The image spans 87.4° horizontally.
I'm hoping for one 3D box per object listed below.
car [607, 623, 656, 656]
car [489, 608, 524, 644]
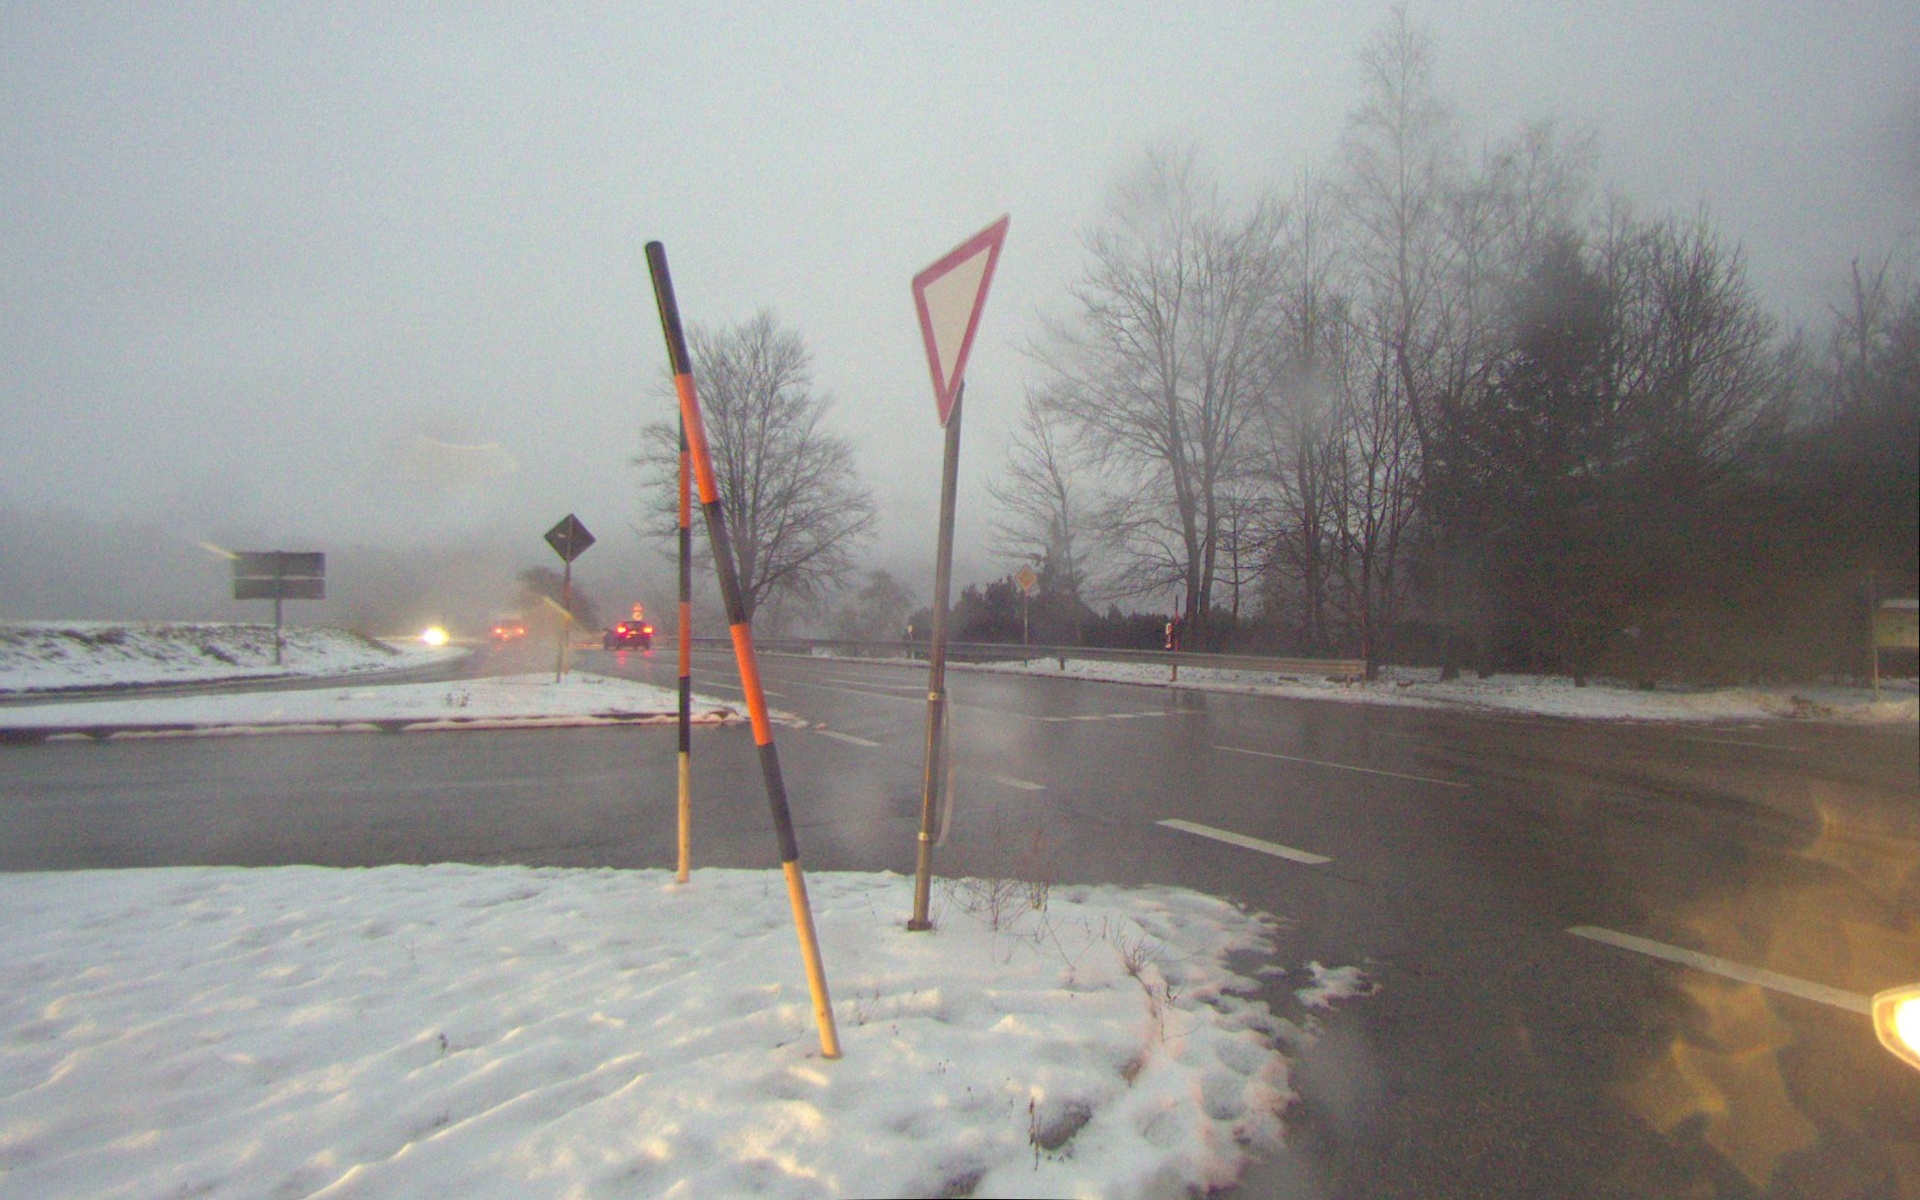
[{"bbox_3d":[-16.855,1.986,51.468,1.677,1.572,3.827,2,-2,-29],"label":"car"},{"bbox_3d":[-39.540,2.234,87.533,2.129,2.731,5.483,3,0,-31],"label":"car"}]
